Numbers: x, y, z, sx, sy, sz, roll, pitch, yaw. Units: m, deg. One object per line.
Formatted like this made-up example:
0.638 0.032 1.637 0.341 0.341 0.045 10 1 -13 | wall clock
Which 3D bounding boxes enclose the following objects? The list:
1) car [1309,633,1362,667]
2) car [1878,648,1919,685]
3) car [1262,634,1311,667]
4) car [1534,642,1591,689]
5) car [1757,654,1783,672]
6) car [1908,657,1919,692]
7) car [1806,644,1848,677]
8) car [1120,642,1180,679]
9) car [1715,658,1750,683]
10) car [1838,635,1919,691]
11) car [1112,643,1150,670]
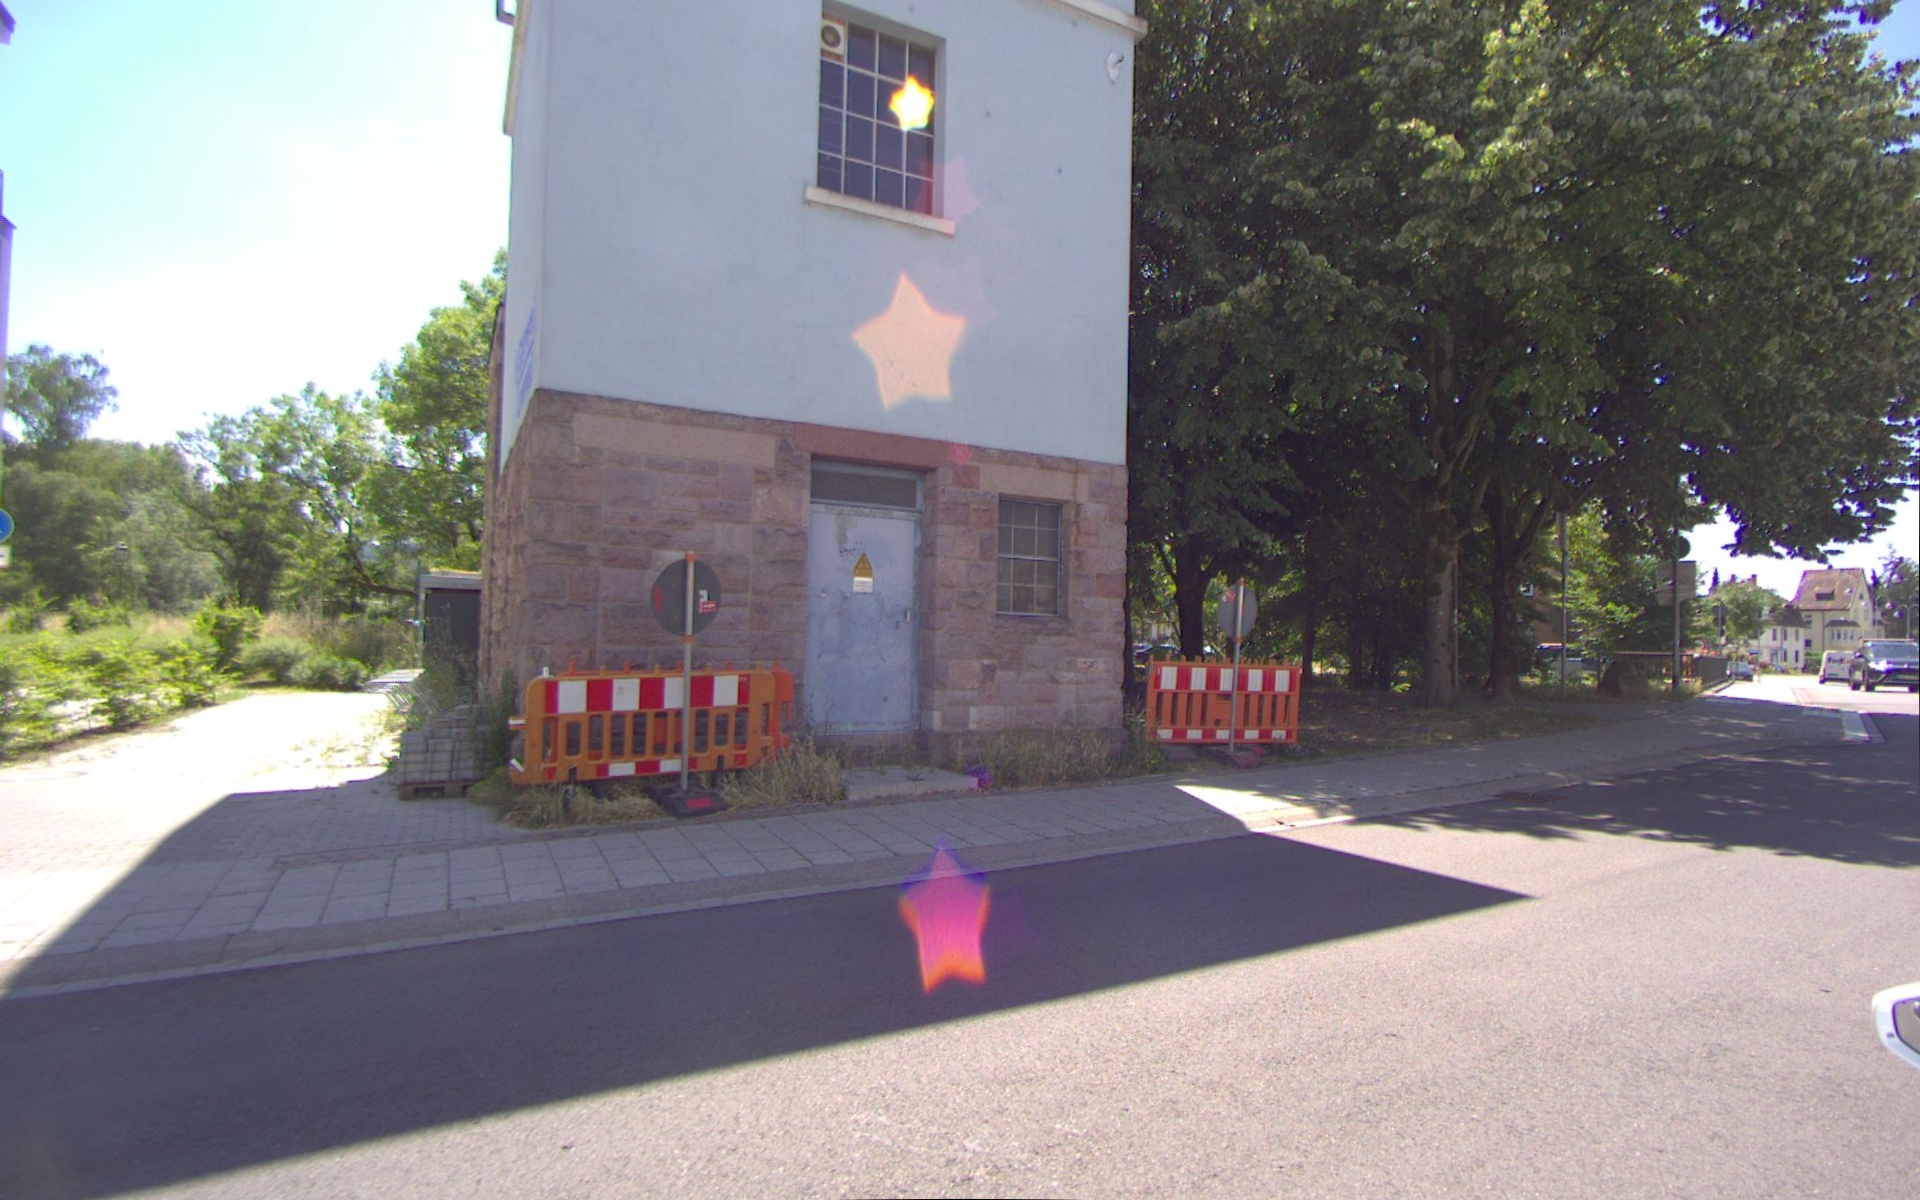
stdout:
23.815 3.150 63.606 1.970 2.040 3.982 0 -2 39 | car
56.939 4.000 60.553 1.968 2.040 3.985 0 -1 37 | car
21.430 3.328 65.829 1.967 2.040 3.987 0 -3 36 | car
28.216 3.009 46.985 1.967 2.040 3.986 0 -1 36 | car
82.313 6.380 102.109 1.969 1.681 3.984 3 -1 38 | car
52.475 3.994 53.808 1.968 1.769 4.312 0 -1 37 | car
67.378 4.657 78.130 2.216 2.374 4.833 1 -1 38 | car
11.276 3.527 59.483 1.967 2.040 3.987 0 -2 35 | car
57.156 5.197 74.293 1.969 1.681 3.984 3 -1 38 | car
31.561 2.103 34.216 1.716 1.795 4.328 -2 -3 31 | car
11.854 3.850 69.547 1.960 1.706 4.000 1 -1 19 | car
